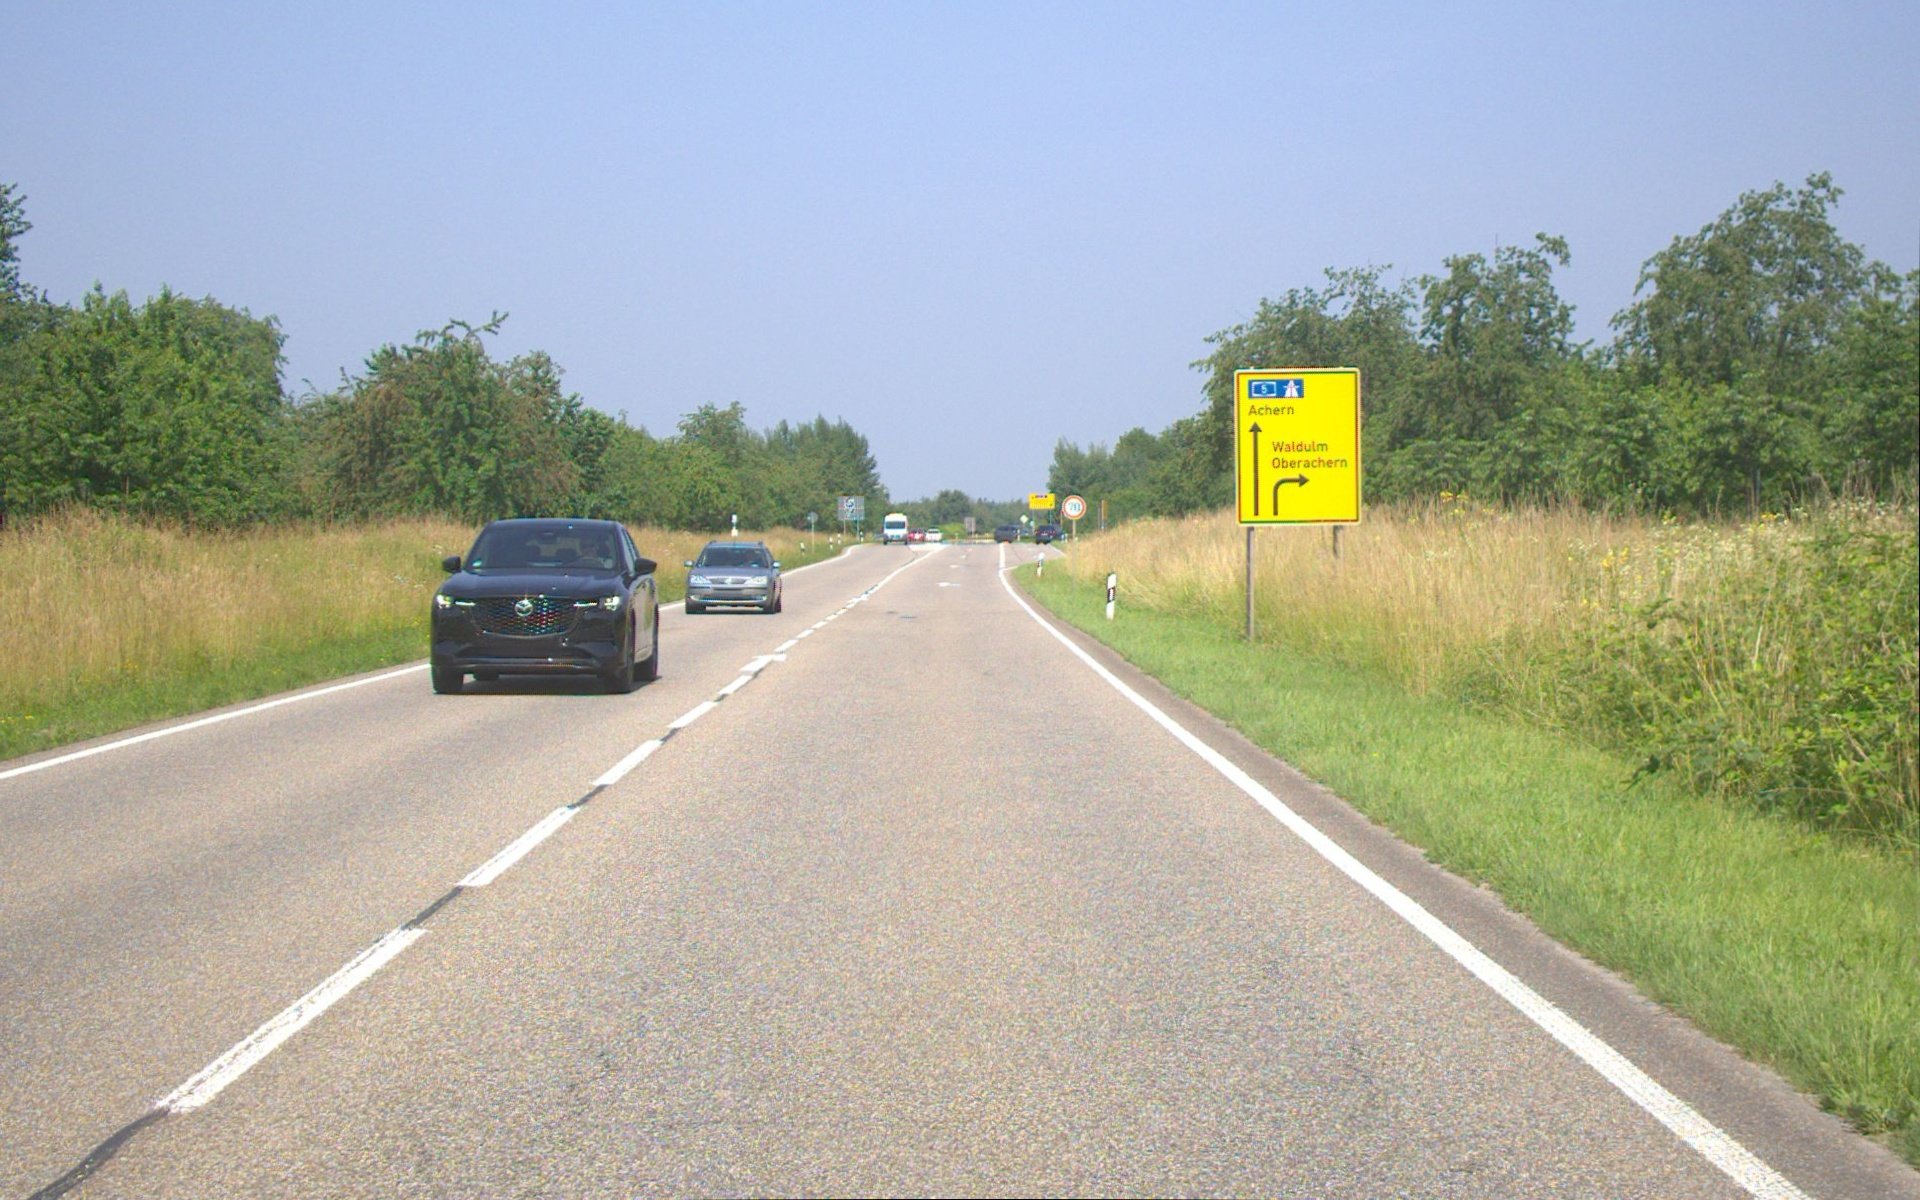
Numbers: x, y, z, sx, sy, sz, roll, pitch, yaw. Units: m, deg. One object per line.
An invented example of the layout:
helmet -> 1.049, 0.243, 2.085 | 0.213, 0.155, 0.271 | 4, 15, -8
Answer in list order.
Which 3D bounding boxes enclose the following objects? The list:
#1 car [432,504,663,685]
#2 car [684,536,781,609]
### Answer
car -> -4.041, -0.096, 34.322 | 1.836, 1.672, 4.411 | 0, 1, -1
car -> -4.539, -0.580, 69.171 | 1.690, 1.404, 4.895 | 0, 1, -1
